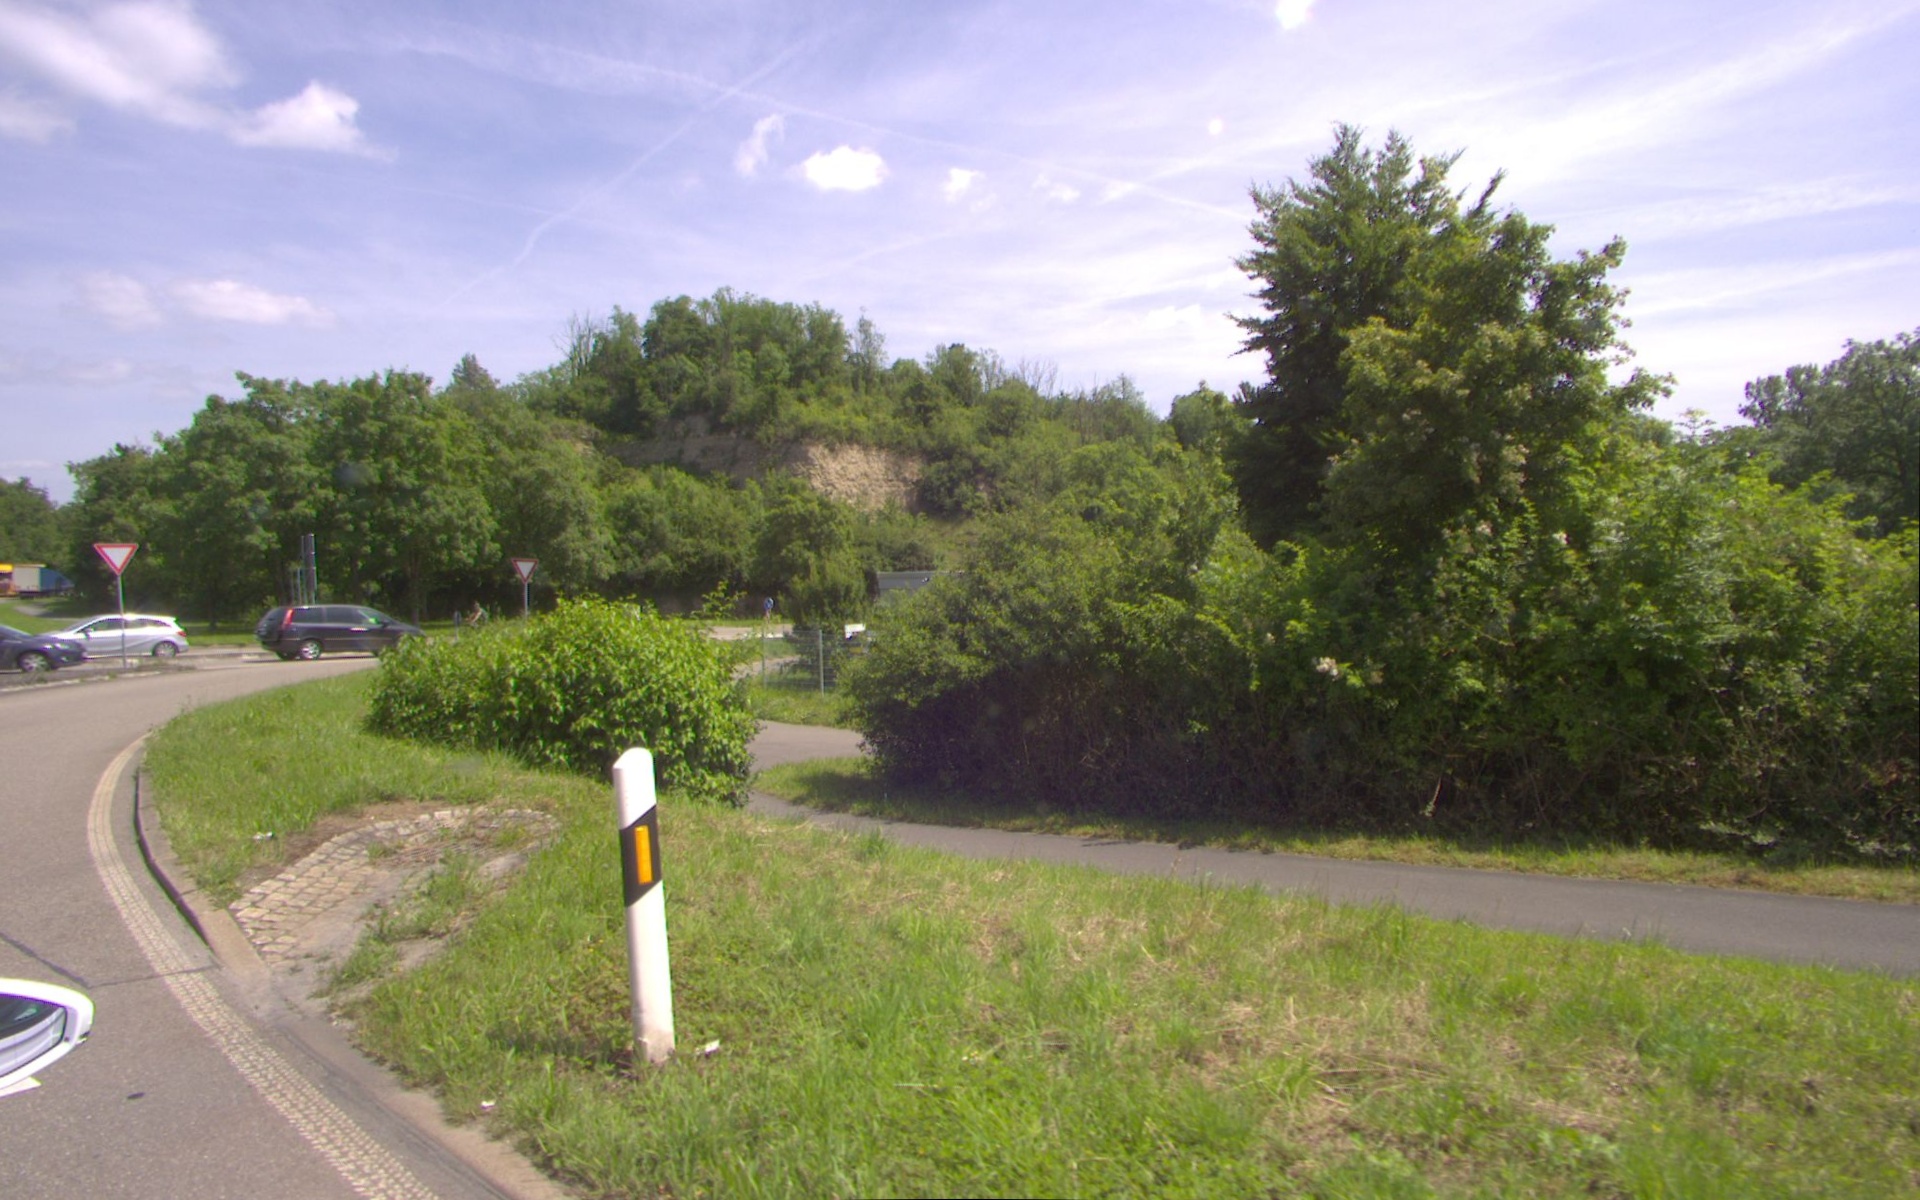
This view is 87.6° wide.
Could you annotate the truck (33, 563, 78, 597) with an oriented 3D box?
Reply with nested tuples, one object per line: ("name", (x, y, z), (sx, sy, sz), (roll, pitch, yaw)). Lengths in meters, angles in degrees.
("truck", (-115.937, -2.554, 128.422), (3.134, 4.056, 5.785), (0, -1, -30))

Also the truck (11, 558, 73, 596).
("truck", (-113.092, -2.688, 123.549), (3.144, 4.080, 11.684), (0, -2, -30))

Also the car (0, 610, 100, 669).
("car", (-25.515, 1.065, 26.247), (4.198, 1.509, 1.990), (0, -3, -32))

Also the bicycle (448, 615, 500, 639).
("bicycle", (-21.435, 1.209, 44.228), (0.785, 1.008, 1.987), (-2, -3, 30))

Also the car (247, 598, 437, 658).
("car", (-20.035, 0.930, 32.677), (1.974, 1.807, 4.912), (-3, -3, 35))

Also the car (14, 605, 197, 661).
("car", (-28.649, 1.124, 33.695), (1.975, 1.740, 4.413), (-3, -3, 37))

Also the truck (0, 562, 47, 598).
("truck", (-120.466, -2.443, 126.350), (4.952, 4.420, 11.709), (0, 0, -28))

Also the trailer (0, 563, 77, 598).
("trailer", (-124.233, -2.459, 133.490), (4.952, 4.420, 20.739), (0, 0, -28))

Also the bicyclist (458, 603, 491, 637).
("bicyclist", (-21.443, 0.889, 44.232), (0.784, 1.466, 1.004), (-2, -2, 30))
